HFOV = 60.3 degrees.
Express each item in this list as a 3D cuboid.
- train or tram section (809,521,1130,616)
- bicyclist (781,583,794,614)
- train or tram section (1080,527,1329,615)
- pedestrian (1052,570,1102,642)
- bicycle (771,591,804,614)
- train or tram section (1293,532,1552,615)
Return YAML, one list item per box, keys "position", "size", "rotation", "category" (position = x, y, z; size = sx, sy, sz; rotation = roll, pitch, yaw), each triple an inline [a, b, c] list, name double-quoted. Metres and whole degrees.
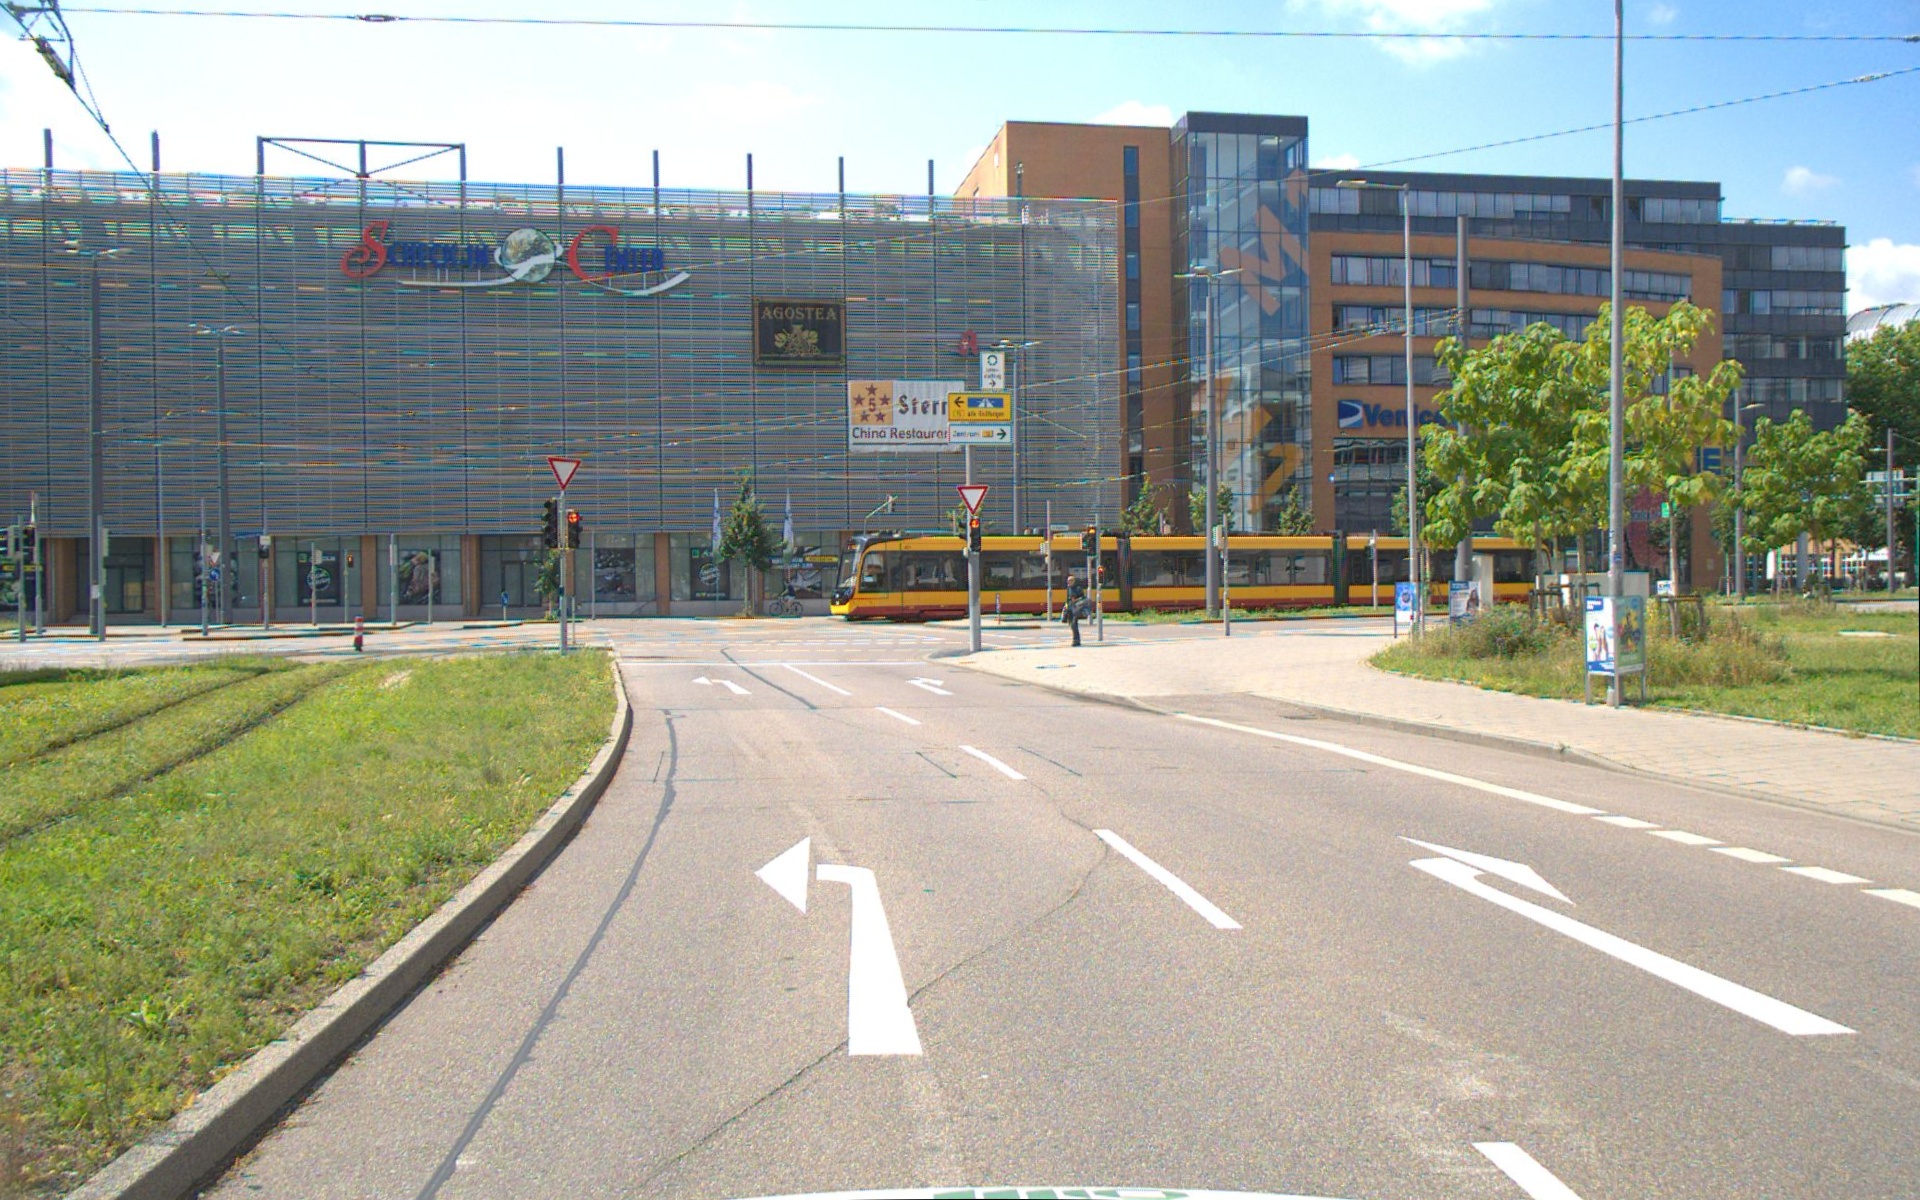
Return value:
- position: [0.565, -1.235, 67.804]
  size: [13.301, 3.662, 3.197]
  rotation: [0, 1, -28]
  category: "train or tram section"
- position: [-9.346, -0.080, 89.792]
  size: [0.650, 1.652, 0.549]
  rotation: [0, 0, -10]
  category: "bicyclist"
- position: [10.788, -1.240, 72.788]
  size: [10.800, 3.666, 3.046]
  rotation: [0, 1, -22]
  category: "train or tram section"
- position: [2.880, 0.158, 40.738]
  size: [0.801, 1.732, 0.905]
  rotation: [-2, 0, -39]
  category: "pedestrian"
- position: [-9.362, 0.139, 89.790]
  size: [1.728, 1.245, 0.583]
  rotation: [0, 0, -11]
  category: "bicycle"
- position: [21.651, -1.196, 77.178]
  size: [12.417, 3.684, 3.045]
  rotation: [0, 1, -22]
  category: "train or tram section"
